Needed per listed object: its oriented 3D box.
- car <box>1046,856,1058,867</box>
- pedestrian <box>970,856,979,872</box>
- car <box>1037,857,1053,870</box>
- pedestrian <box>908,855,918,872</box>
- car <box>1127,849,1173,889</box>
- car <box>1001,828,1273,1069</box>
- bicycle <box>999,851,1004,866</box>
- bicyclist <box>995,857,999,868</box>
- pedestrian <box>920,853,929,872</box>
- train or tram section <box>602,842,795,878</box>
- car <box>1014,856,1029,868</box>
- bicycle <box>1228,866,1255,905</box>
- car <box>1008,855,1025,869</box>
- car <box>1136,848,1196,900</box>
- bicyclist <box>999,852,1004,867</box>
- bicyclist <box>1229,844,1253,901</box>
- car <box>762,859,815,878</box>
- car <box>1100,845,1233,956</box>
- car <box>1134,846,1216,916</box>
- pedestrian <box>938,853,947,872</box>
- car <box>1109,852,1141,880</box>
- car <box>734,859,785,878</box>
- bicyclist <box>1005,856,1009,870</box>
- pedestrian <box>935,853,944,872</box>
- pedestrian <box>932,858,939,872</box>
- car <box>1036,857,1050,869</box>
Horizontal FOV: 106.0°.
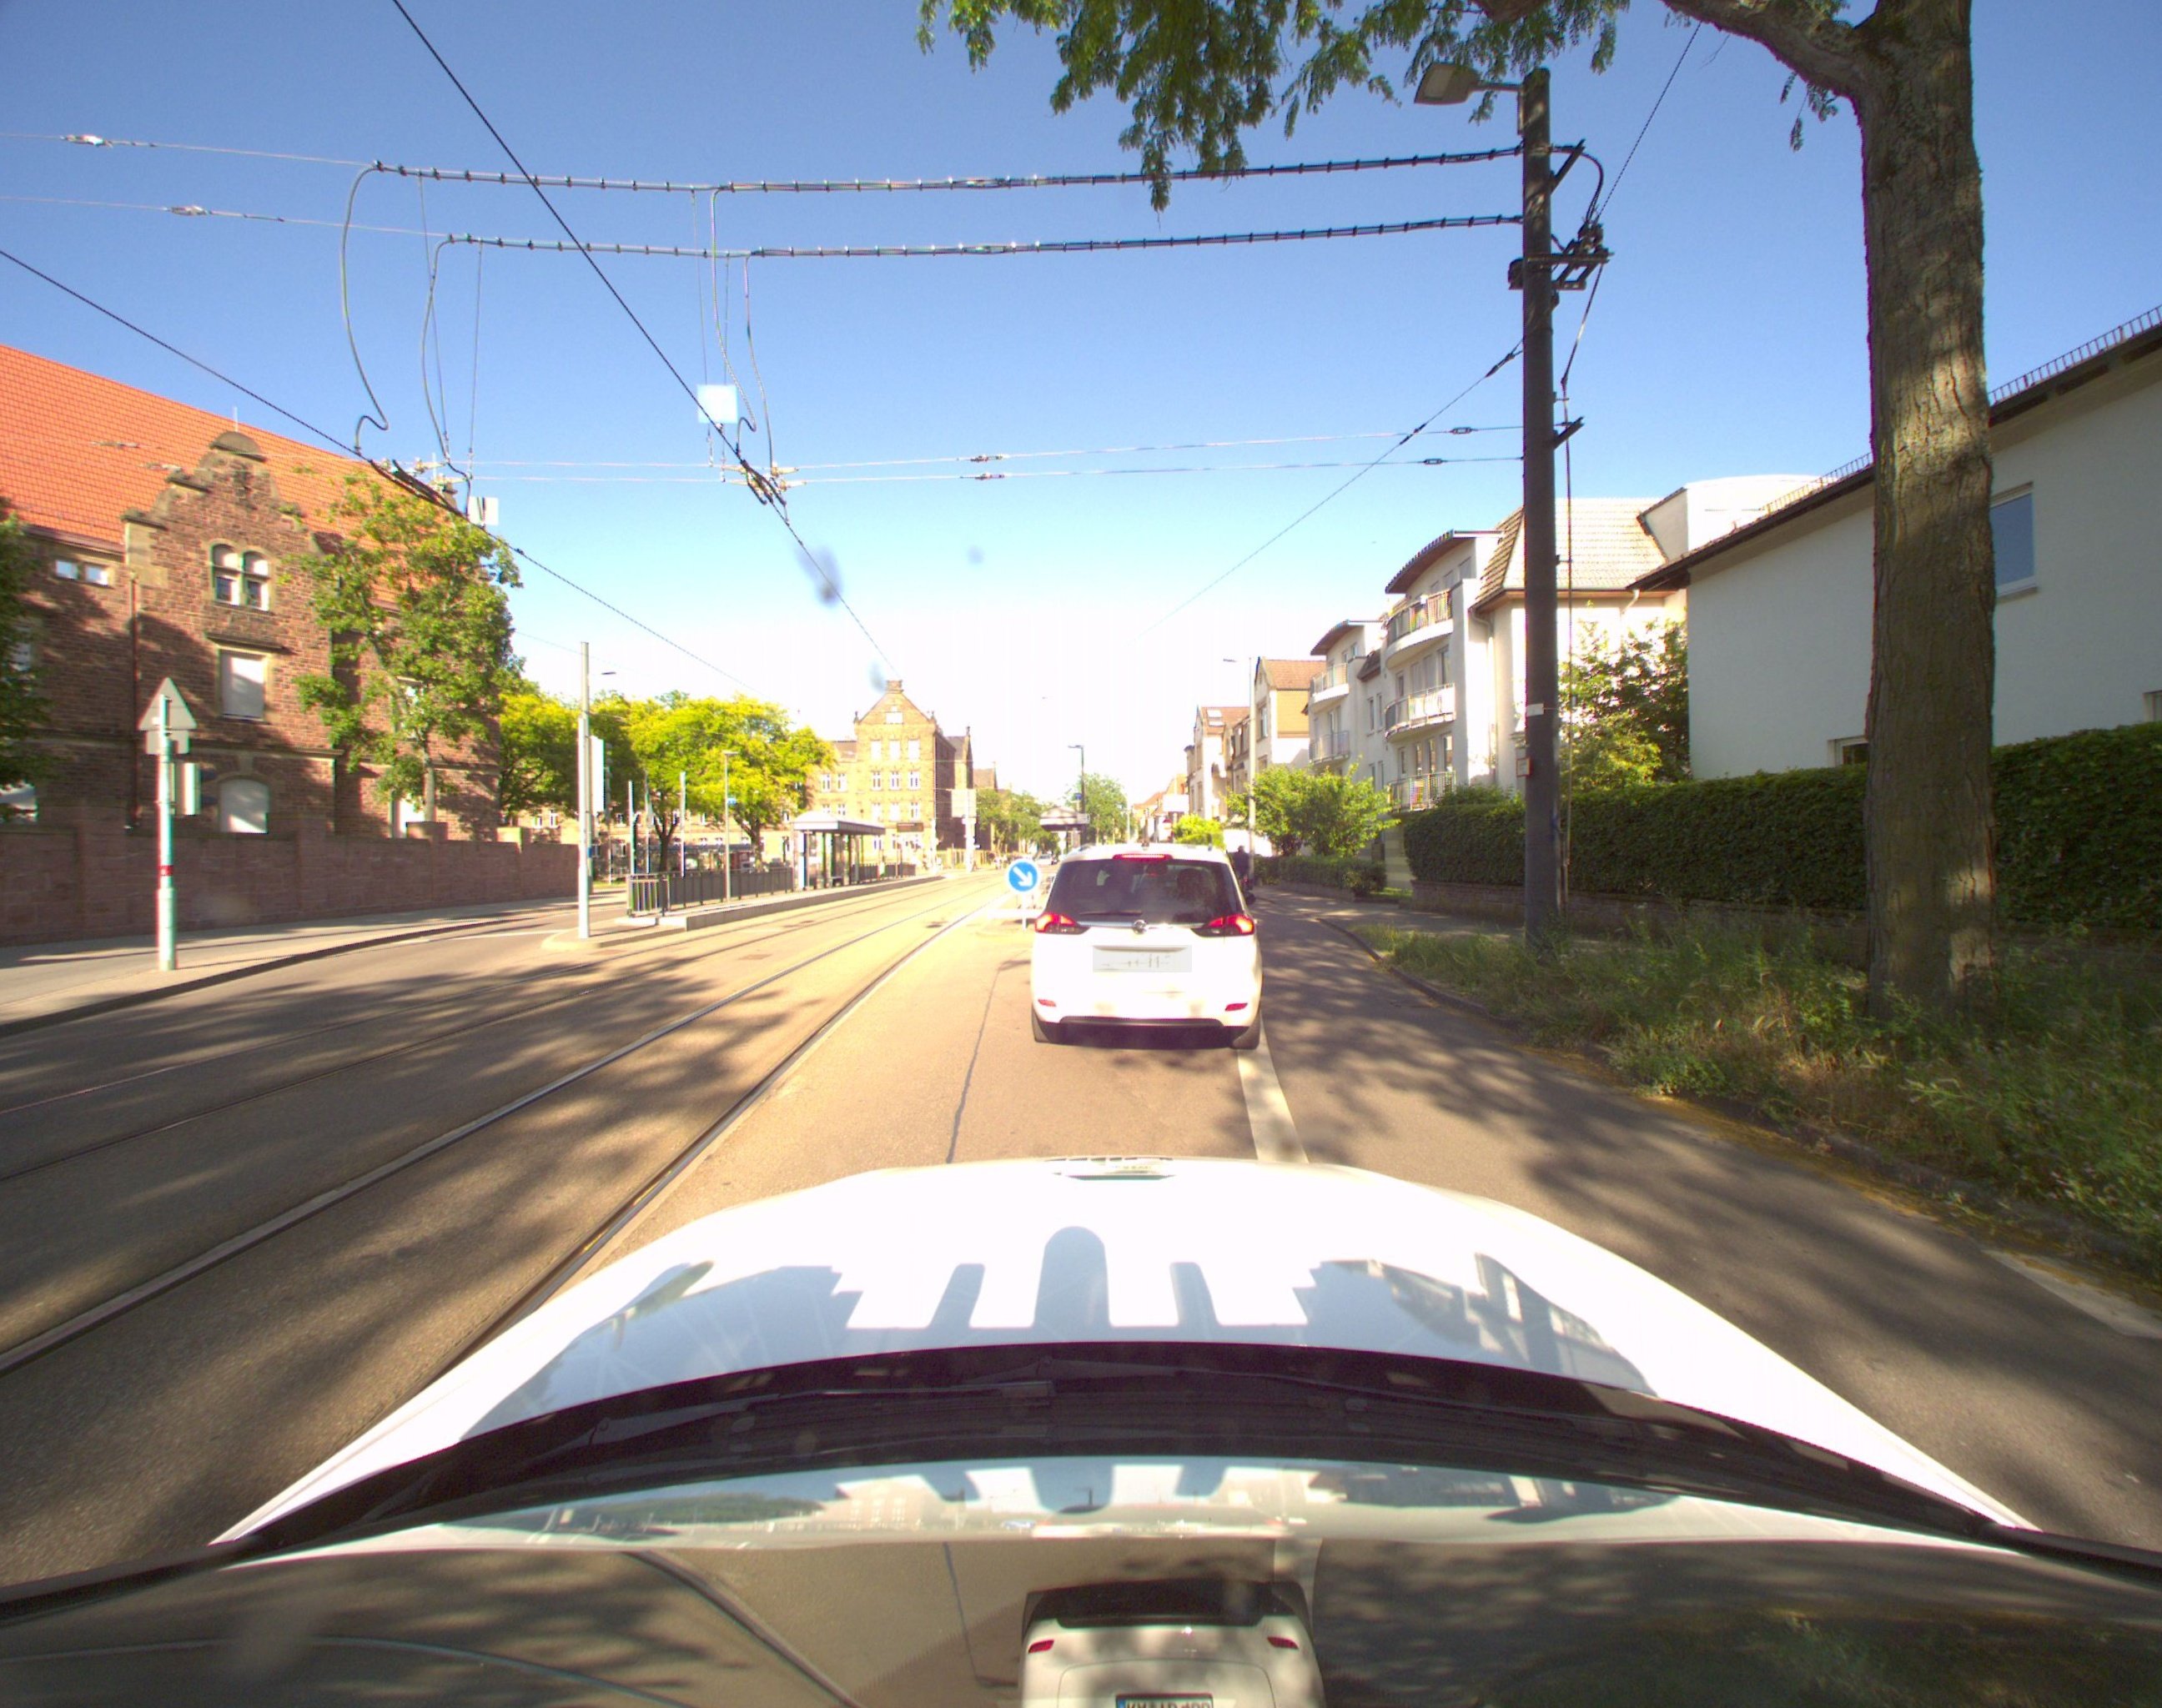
[{"bbox_3d":[-4.612,1.192,129.393,1.740,1.716,4.001,0,-1,2],"label":"car"},{"bbox_3d":[-12.598,1.219,96.327,0.747,1.901,0.802,0,-1,-35],"label":"pedestrian"},{"bbox_3d":[-4.716,1.265,107.668,1.740,1.716,4.001,0,-1,2],"label":"car"},{"bbox_3d":[-18.457,1.057,89.650,0.802,1.901,0.747,-1,-1,16],"label":"pedestrian"},{"bbox_3d":[2.991,0.618,36.186,1.899,1.661,4.003,-1,0,3],"label":"car"},{"bbox_3d":[0.691,0.664,7.735,1.896,1.661,4.010,-1,0,9],"label":"car"},{"bbox_3d":[-10.700,0.584,109.412,0.485,2.013,1.406,-1,0,2],"label":"bicycle"},{"bbox_3d":[-10.673,1.066,103.495,0.312,1.444,0.384,-1,0,1],"label":"bicyclist"},{"bbox_3d":[-17.070,0.949,88.944,0.800,2.014,0.713,0,-1,-32],"label":"pedestrian"},{"bbox_3d":[-37.851,0.585,81.141,17.346,3.154,3.344,-1,-1,-3],"label":"train or tram section"},{"bbox_3d":[-8.339,1.125,114.115,1.740,1.716,4.001,0,-1,2],"label":"car"},{"bbox_3d":[4.798,0.916,24.409,0.621,1.097,1.977,-1,0,6],"label":"bicycle"},{"bbox_3d":[-8.507,1.039,107.448,1.740,1.716,4.001,0,-1,2],"label":"car"},{"bbox_3d":[2.971,0.653,28.342,1.897,1.661,4.007,-1,0,6],"label":"car"},{"bbox_3d":[-10.693,0.706,109.448,0.496,2.013,0.572,-1,0,1],"label":"bicyclist"},{"bbox_3d":[4.789,0.548,24.431,0.612,1.686,0.780,-1,0,7],"label":"bicyclist"},{"bbox_3d":[-25.452,1.246,70.966,3.976,1.630,1.817,0,-1,-2],"label":"car"},{"bbox_3d":[1.554,0.687,13.864,1.896,1.597,4.010,-1,0,9],"label":"car"},{"bbox_3d":[2.516,0.639,21.070,1.896,1.624,4.010,-1,0,9],"label":"car"},{"bbox_3d":[-14.558,0.875,85.511,0.796,2.014,0.717,0,-1,-15],"label":"pedestrian"},{"bbox_3d":[2.836,0.755,53.178,1.901,1.661,4.000,-1,0,0],"label":"car"},{"bbox_3d":[-29.660,1.323,75.209,3.976,1.630,1.817,0,-1,-2],"label":"car"},{"bbox_3d":[-10.244,1.231,112.373,0.486,2.014,0.502,0,-1,1],"label":"bicyclist"},{"bbox_3d":[-15.562,0.943,89.531,0.801,2.014,0.713,0,-1,-35],"label":"pedestrian"},{"bbox_3d":[-17.171,1.265,95.916,0.651,1.612,0.712,0,-1,4],"label":"pedestrian"},{"bbox_3d":[-5.379,1.297,115.547,1.740,1.716,4.001,0,-1,2],"label":"car"}]
